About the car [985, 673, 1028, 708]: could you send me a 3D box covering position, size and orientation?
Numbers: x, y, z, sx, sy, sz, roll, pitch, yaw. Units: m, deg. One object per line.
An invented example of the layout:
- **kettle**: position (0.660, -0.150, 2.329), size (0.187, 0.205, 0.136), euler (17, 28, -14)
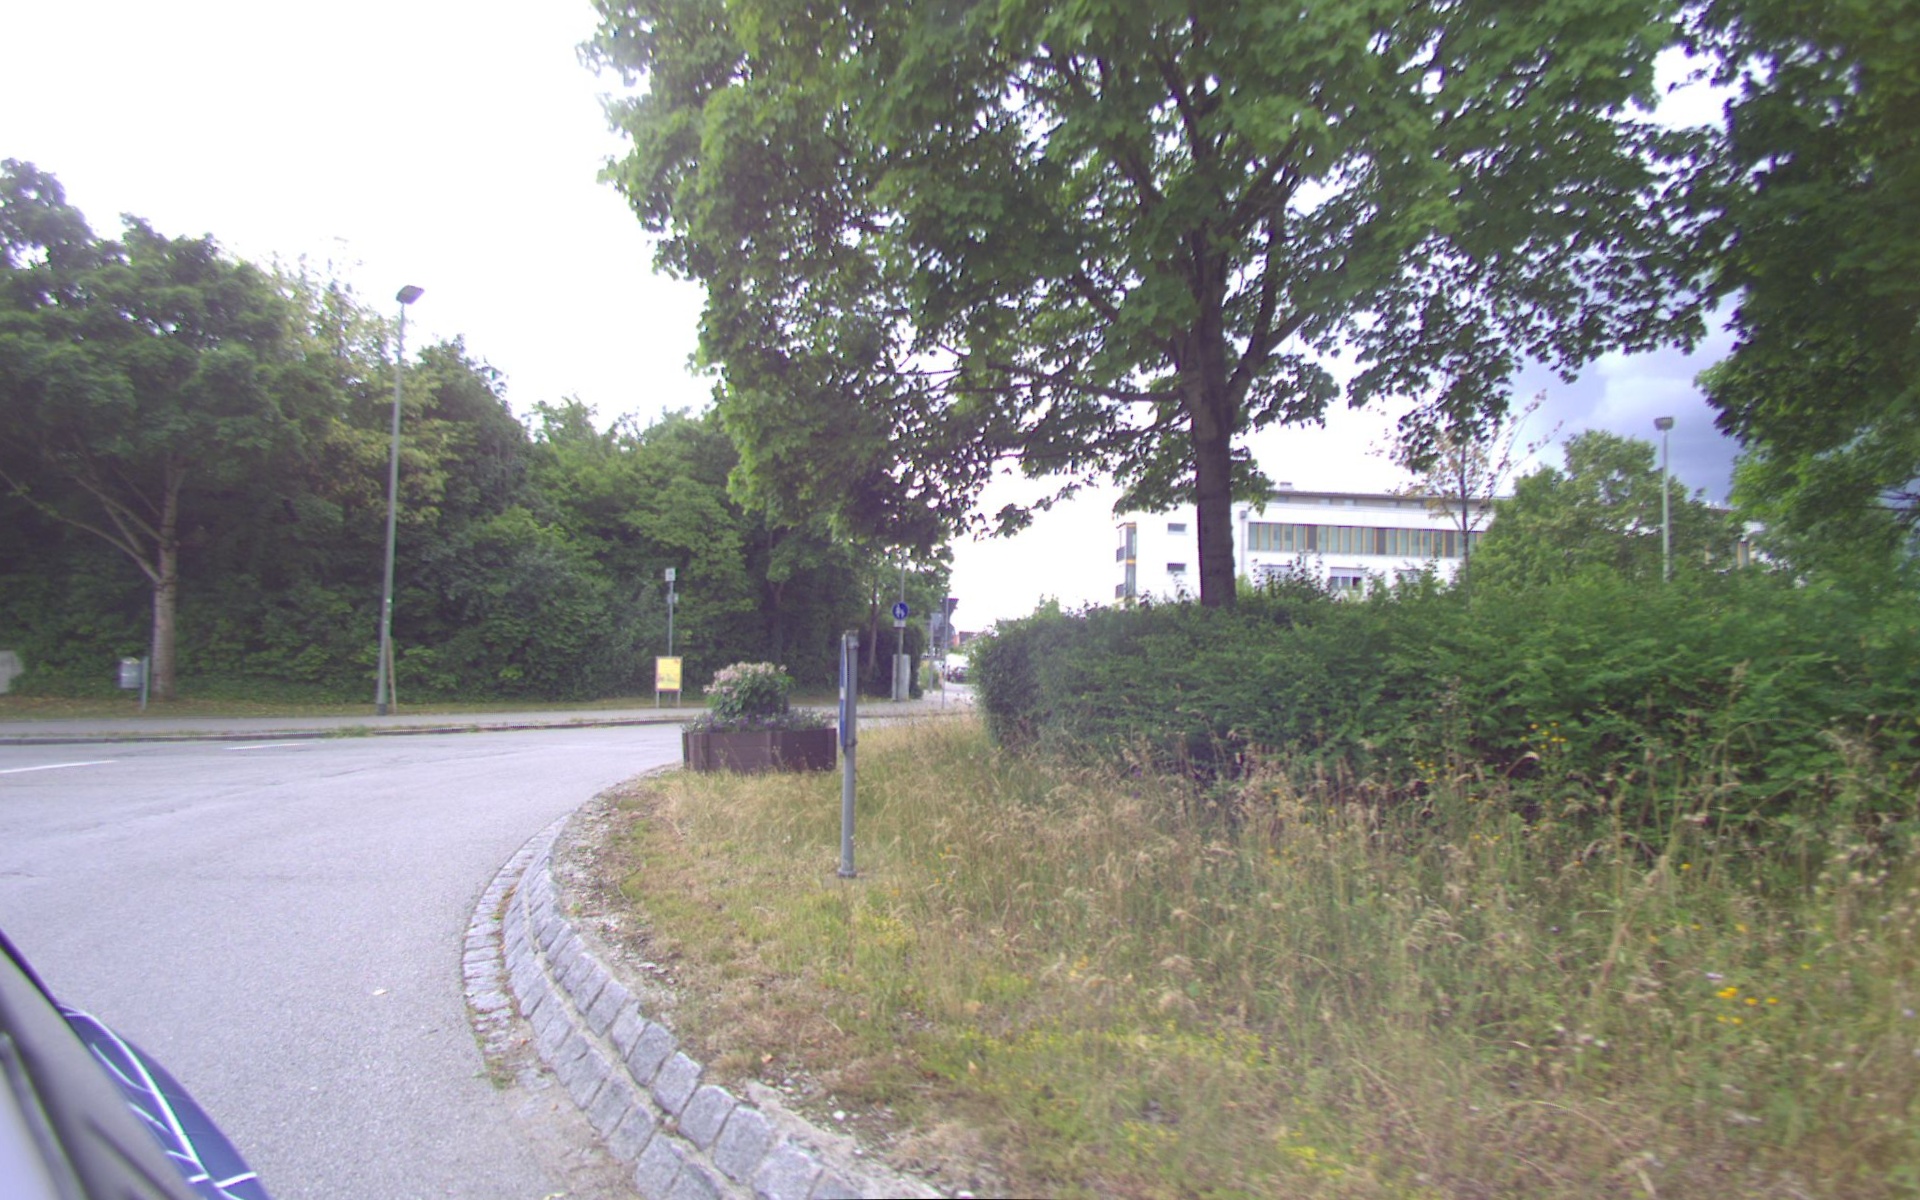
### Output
- **car**: position (2.169, 4.286, 48.009), size (1.847, 1.516, 4.129), euler (-2, -5, 1)

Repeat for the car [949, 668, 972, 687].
- **car**: position (0.065, 6.605, 85.987), size (1.847, 1.516, 4.129), euler (-2, -5, 1)
